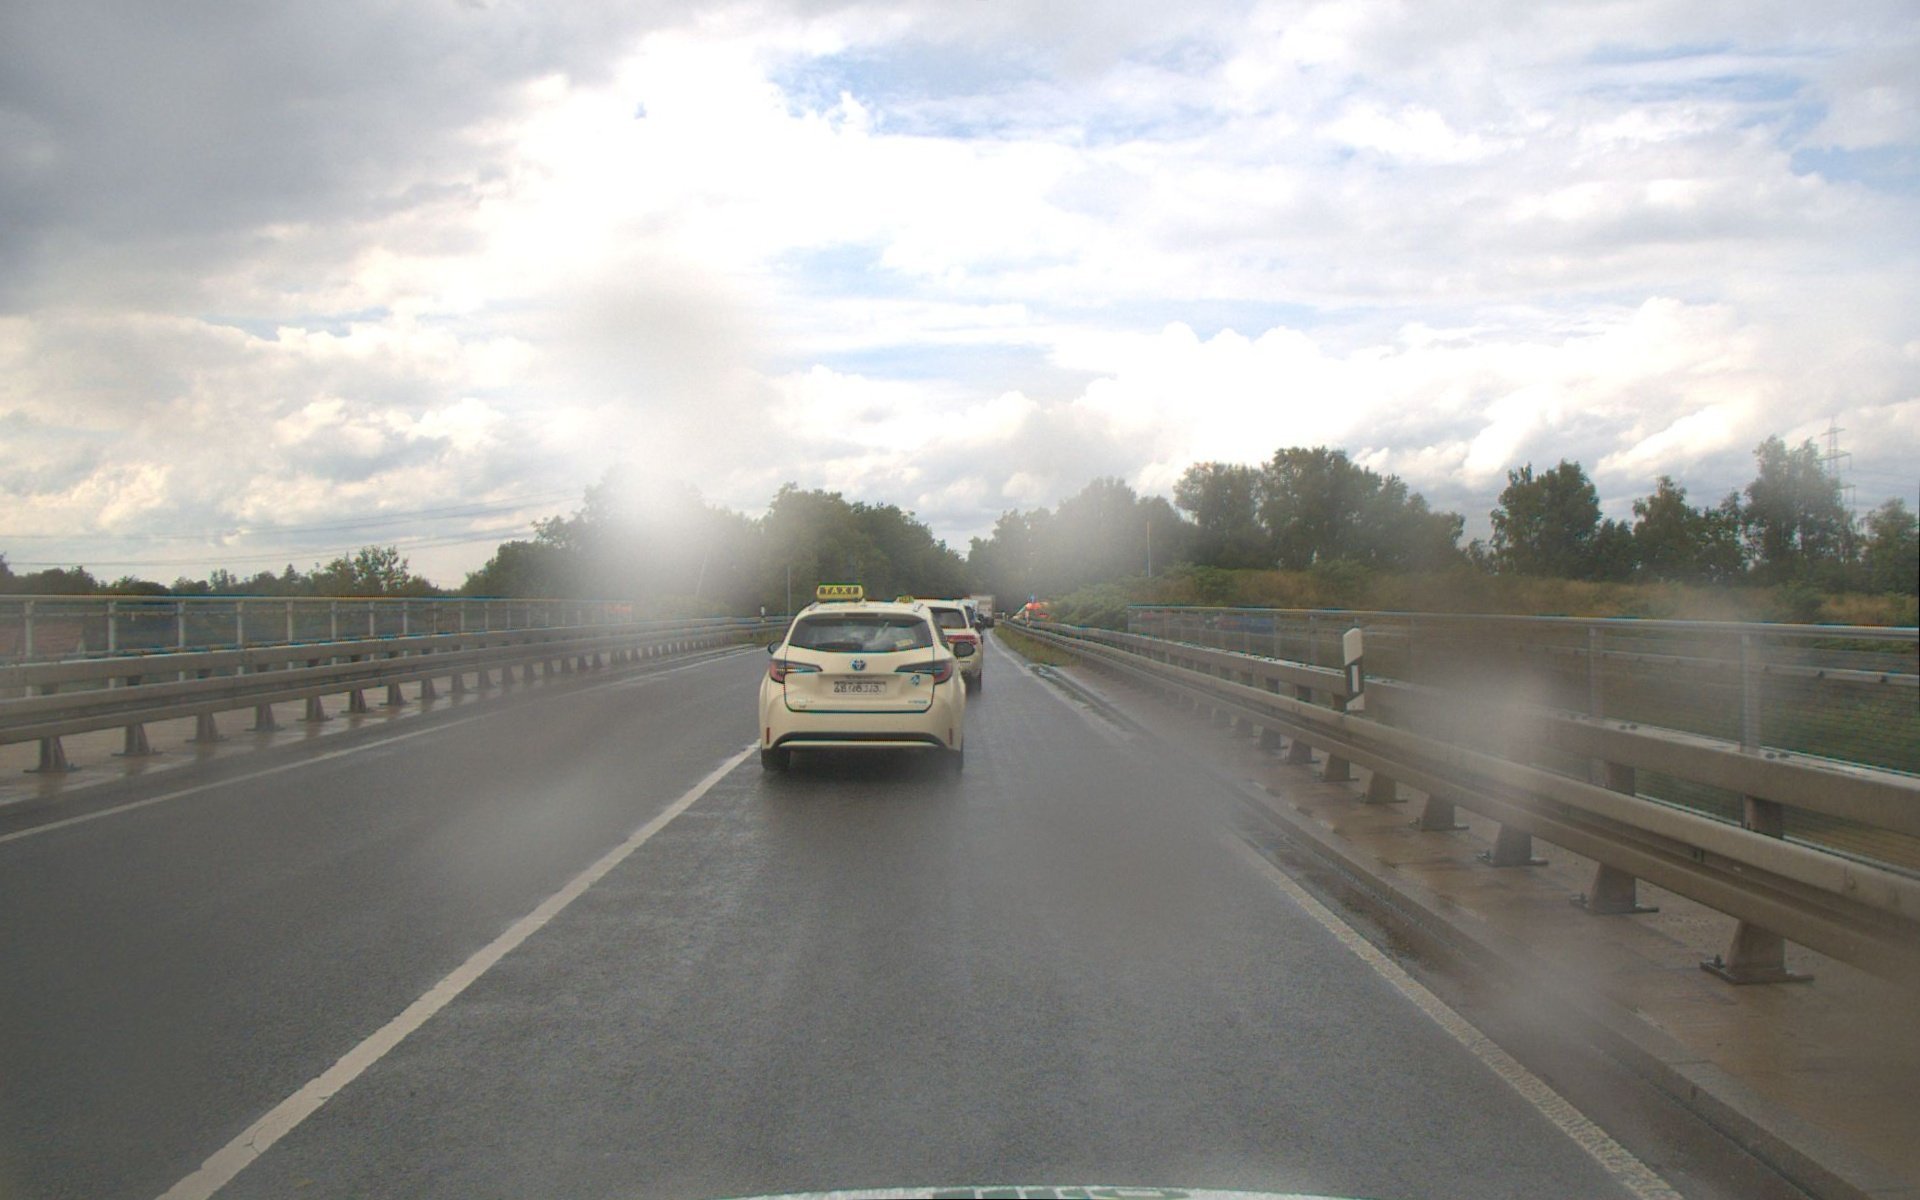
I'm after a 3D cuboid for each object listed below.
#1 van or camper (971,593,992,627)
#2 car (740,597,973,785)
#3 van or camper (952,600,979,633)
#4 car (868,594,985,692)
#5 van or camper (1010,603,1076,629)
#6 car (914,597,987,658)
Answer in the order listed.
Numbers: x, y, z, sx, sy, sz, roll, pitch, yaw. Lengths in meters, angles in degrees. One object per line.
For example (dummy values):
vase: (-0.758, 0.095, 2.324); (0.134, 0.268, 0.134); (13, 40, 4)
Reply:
van or camper: (2.355, 1.038, 180.940); (2.284, 3.625, 6.307); (1, 0, 1)
car: (-0.830, 0.716, 15.136); (1.816, 1.418, 4.170); (1, 1, -1)
van or camper: (0.528, 1.467, 151.802); (2.284, 2.914, 6.307); (1, 0, 1)
car: (-0.546, 0.670, 27.987); (1.816, 1.468, 4.170); (1, 1, -1)
van or camper: (7.469, 1.430, 148.980); (5.583, 2.281, 2.012); (1, 0, -15)
car: (-0.258, 0.692, 43.776); (1.816, 1.468, 4.170); (1, 1, -1)
